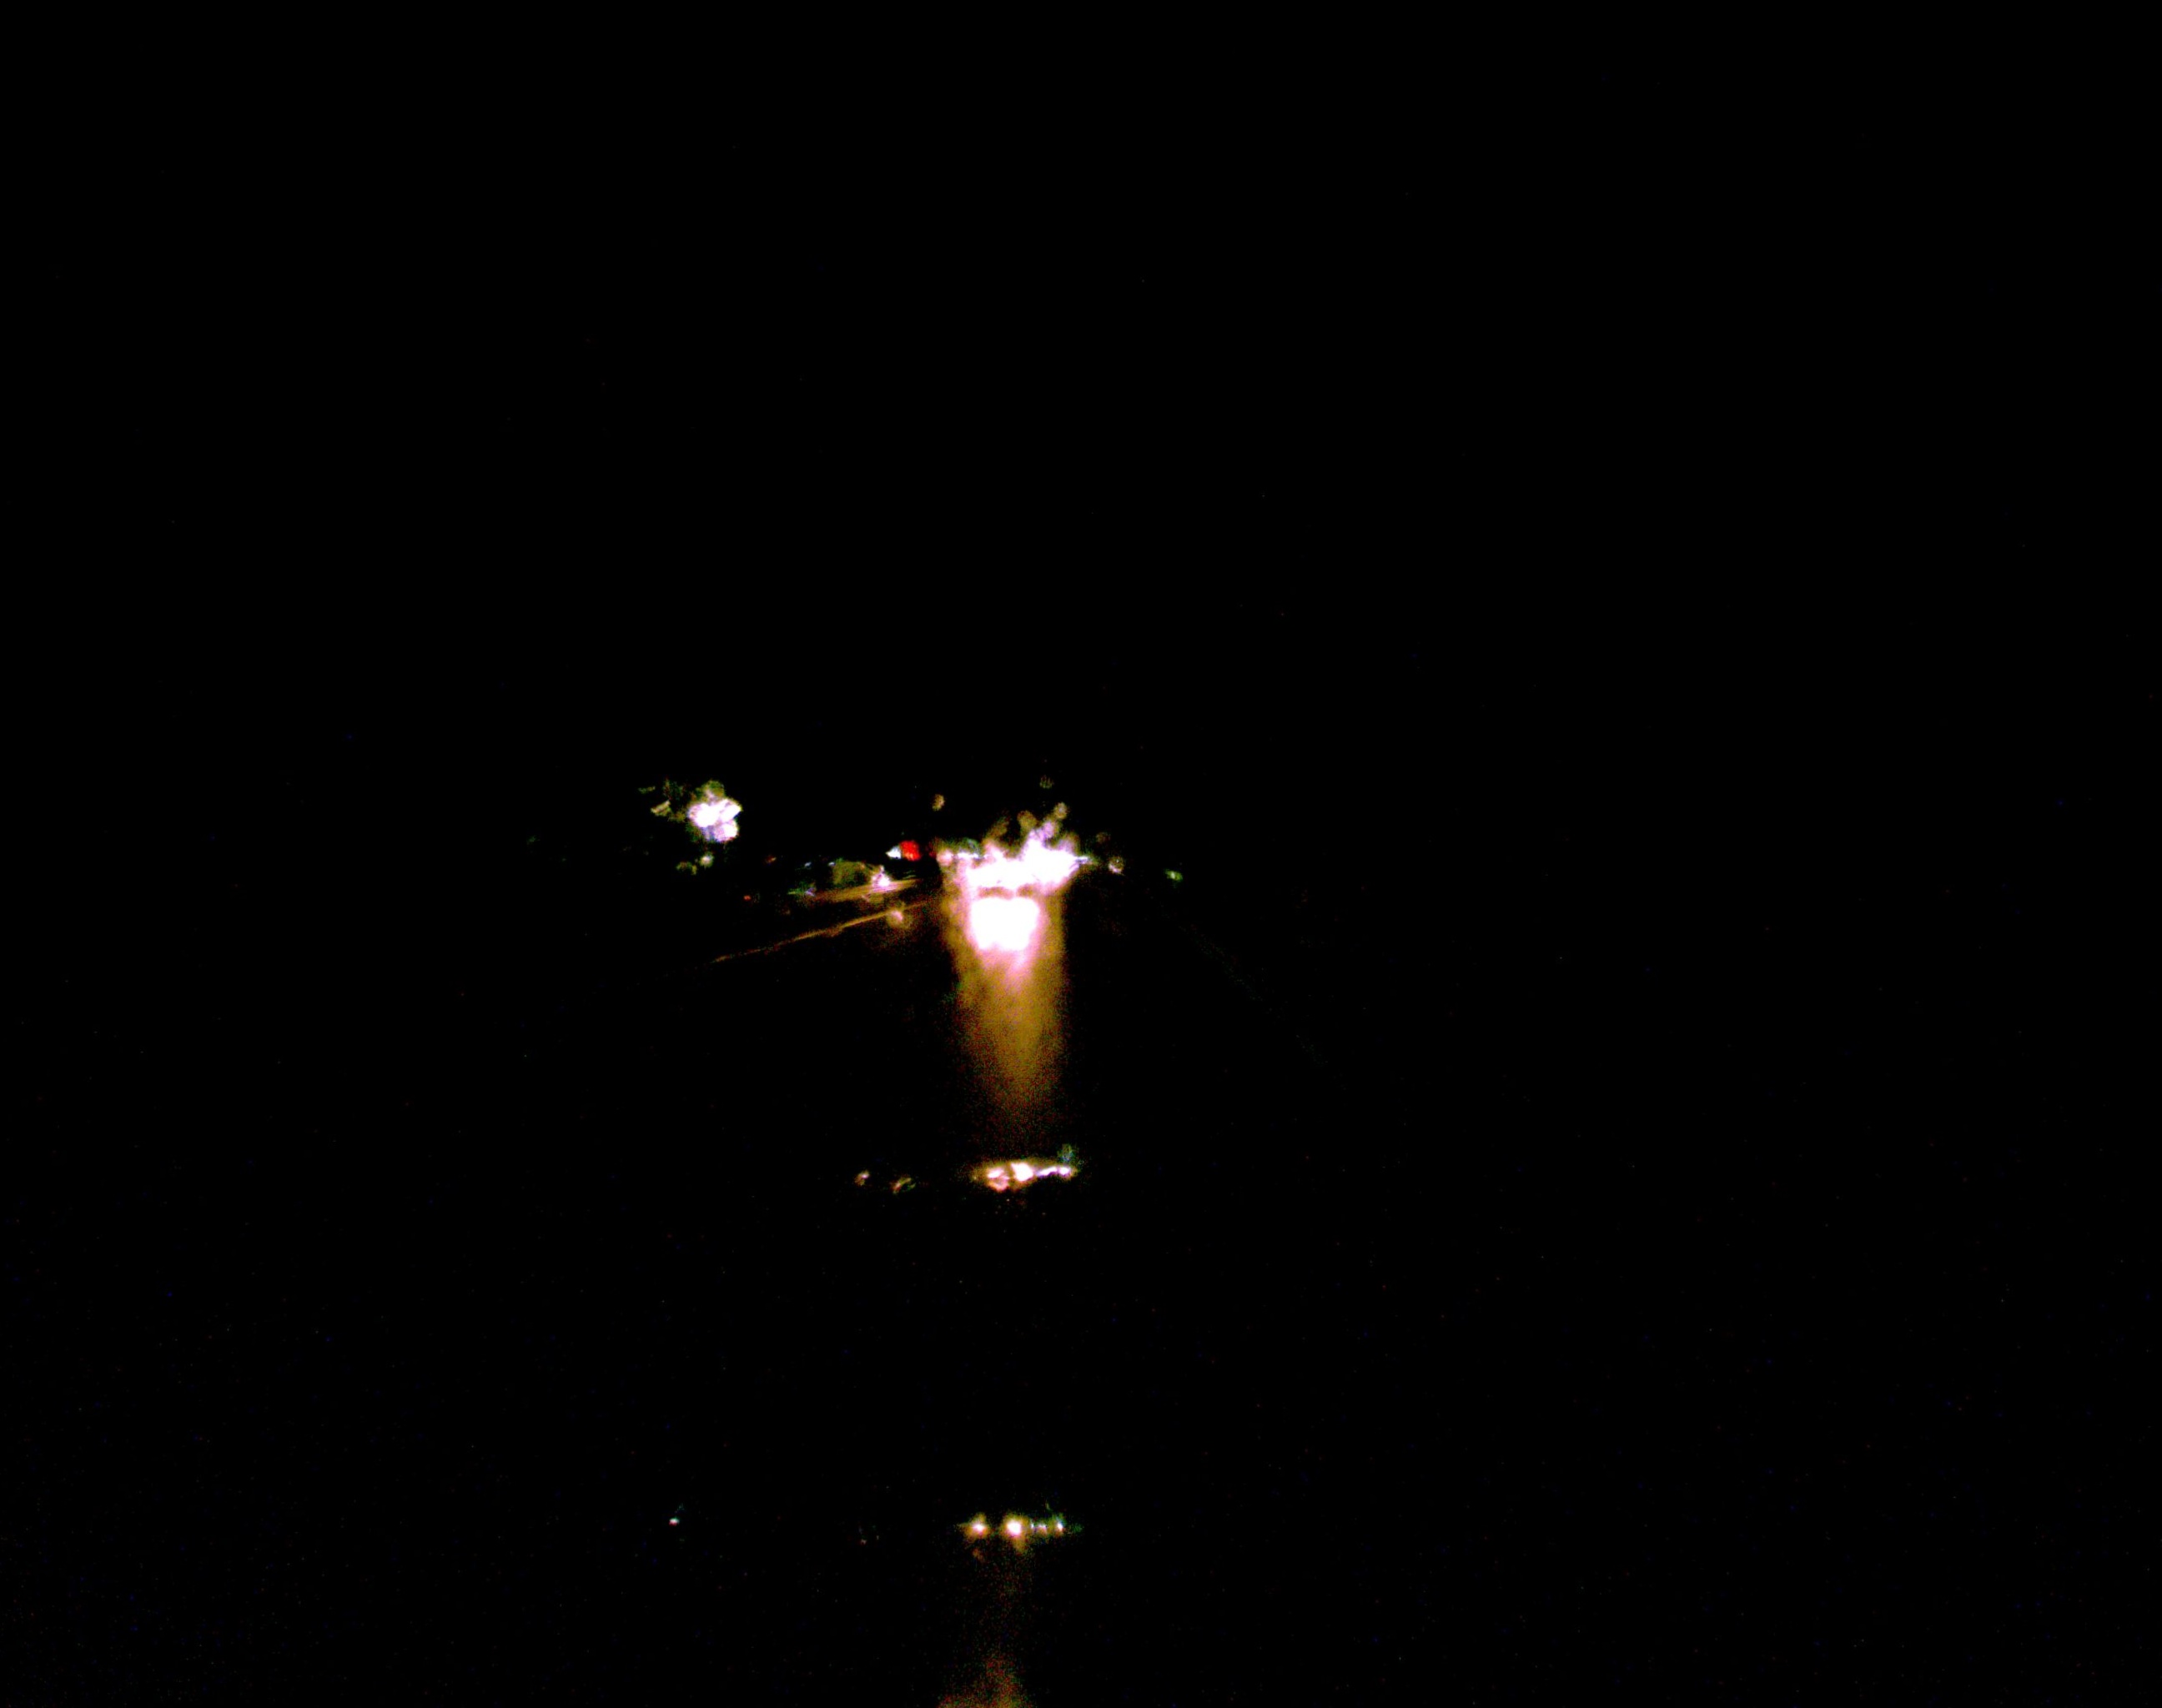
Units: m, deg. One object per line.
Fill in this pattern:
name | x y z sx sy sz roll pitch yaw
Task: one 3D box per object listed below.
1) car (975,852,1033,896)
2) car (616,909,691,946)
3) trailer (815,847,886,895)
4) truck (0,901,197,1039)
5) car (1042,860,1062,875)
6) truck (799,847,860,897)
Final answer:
car | -2.967 0.742 32.108 1.820 1.618 3.729 -1 0 1
car | -23.842 4.069 45.603 1.801 1.676 4.294 -1 0 2
trailer | -24.434 1.745 87.166 3.311 4.796 11.571 -1 0 5
truck | -30.684 3.308 22.704 2.742 3.483 8.118 -1 0 6
car | -2.886 1.306 81.709 1.706 1.417 4.065 -1 0 1
truck | -24.998 1.720 81.406 3.311 4.796 7.329 -1 0 5
